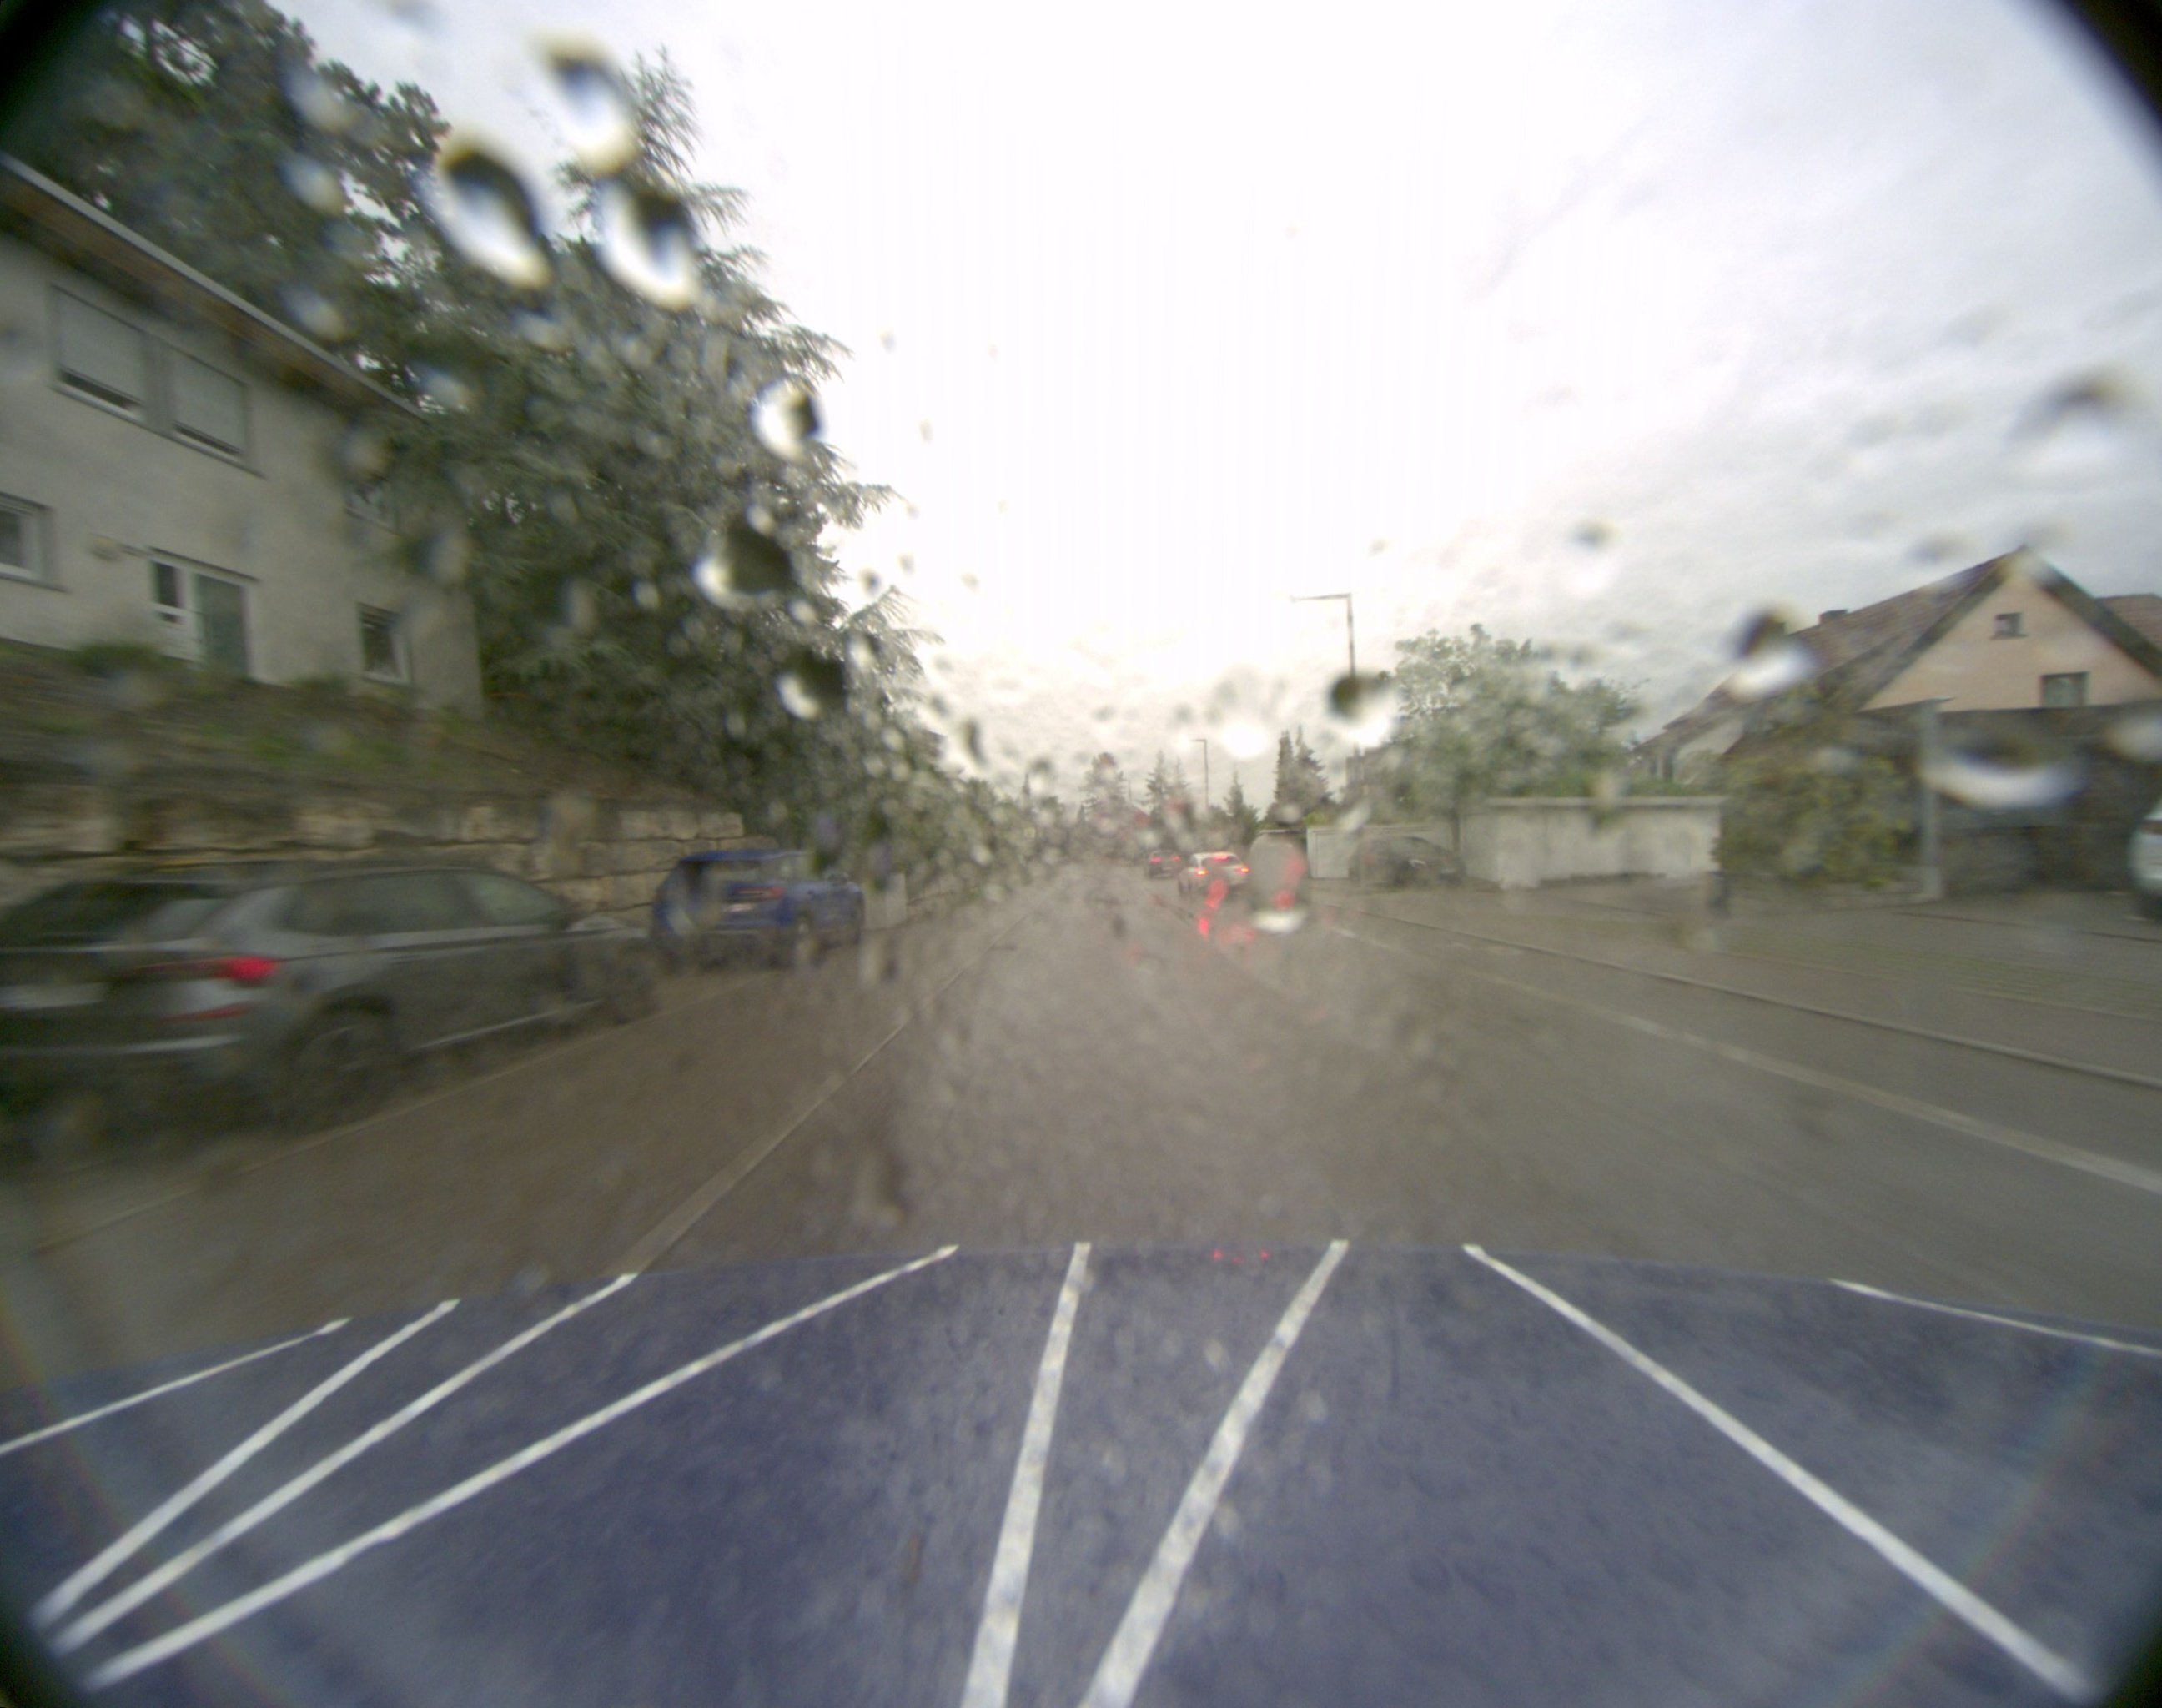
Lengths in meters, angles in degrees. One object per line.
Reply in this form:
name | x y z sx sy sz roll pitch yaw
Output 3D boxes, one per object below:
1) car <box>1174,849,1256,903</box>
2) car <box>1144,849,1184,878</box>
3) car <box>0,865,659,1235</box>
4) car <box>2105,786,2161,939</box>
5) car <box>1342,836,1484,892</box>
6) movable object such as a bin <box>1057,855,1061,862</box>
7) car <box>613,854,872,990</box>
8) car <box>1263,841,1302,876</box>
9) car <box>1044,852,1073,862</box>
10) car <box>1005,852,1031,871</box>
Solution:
car | 4.156 0.630 24.260 1.851 1.452 4.268 -3 0 1
car | 4.629 0.478 42.945 1.855 1.461 3.699 -3 0 1
car | -5.072 0.905 5.398 1.814 1.554 4.010 0 0 2
car | 13.098 -0.029 8.200 4.064 1.565 1.938 -3 1 -30
car | 9.685 0.274 22.574 1.839 1.397 4.257 -3 0 -8
movable object such as a bin | -3.036 0.582 104.181 0.372 0.982 0.557 -3 1 -21
car | -4.822 0.846 11.712 1.999 1.660 4.543 0 0 -1
car | 9.931 0.172 37.452 1.707 1.544 4.393 -3 0 15
car | -3.409 0.433 113.363 4.001 1.264 1.871 -3 1 -15
car | -5.103 0.594 61.046 1.711 1.445 4.017 0 0 -10
